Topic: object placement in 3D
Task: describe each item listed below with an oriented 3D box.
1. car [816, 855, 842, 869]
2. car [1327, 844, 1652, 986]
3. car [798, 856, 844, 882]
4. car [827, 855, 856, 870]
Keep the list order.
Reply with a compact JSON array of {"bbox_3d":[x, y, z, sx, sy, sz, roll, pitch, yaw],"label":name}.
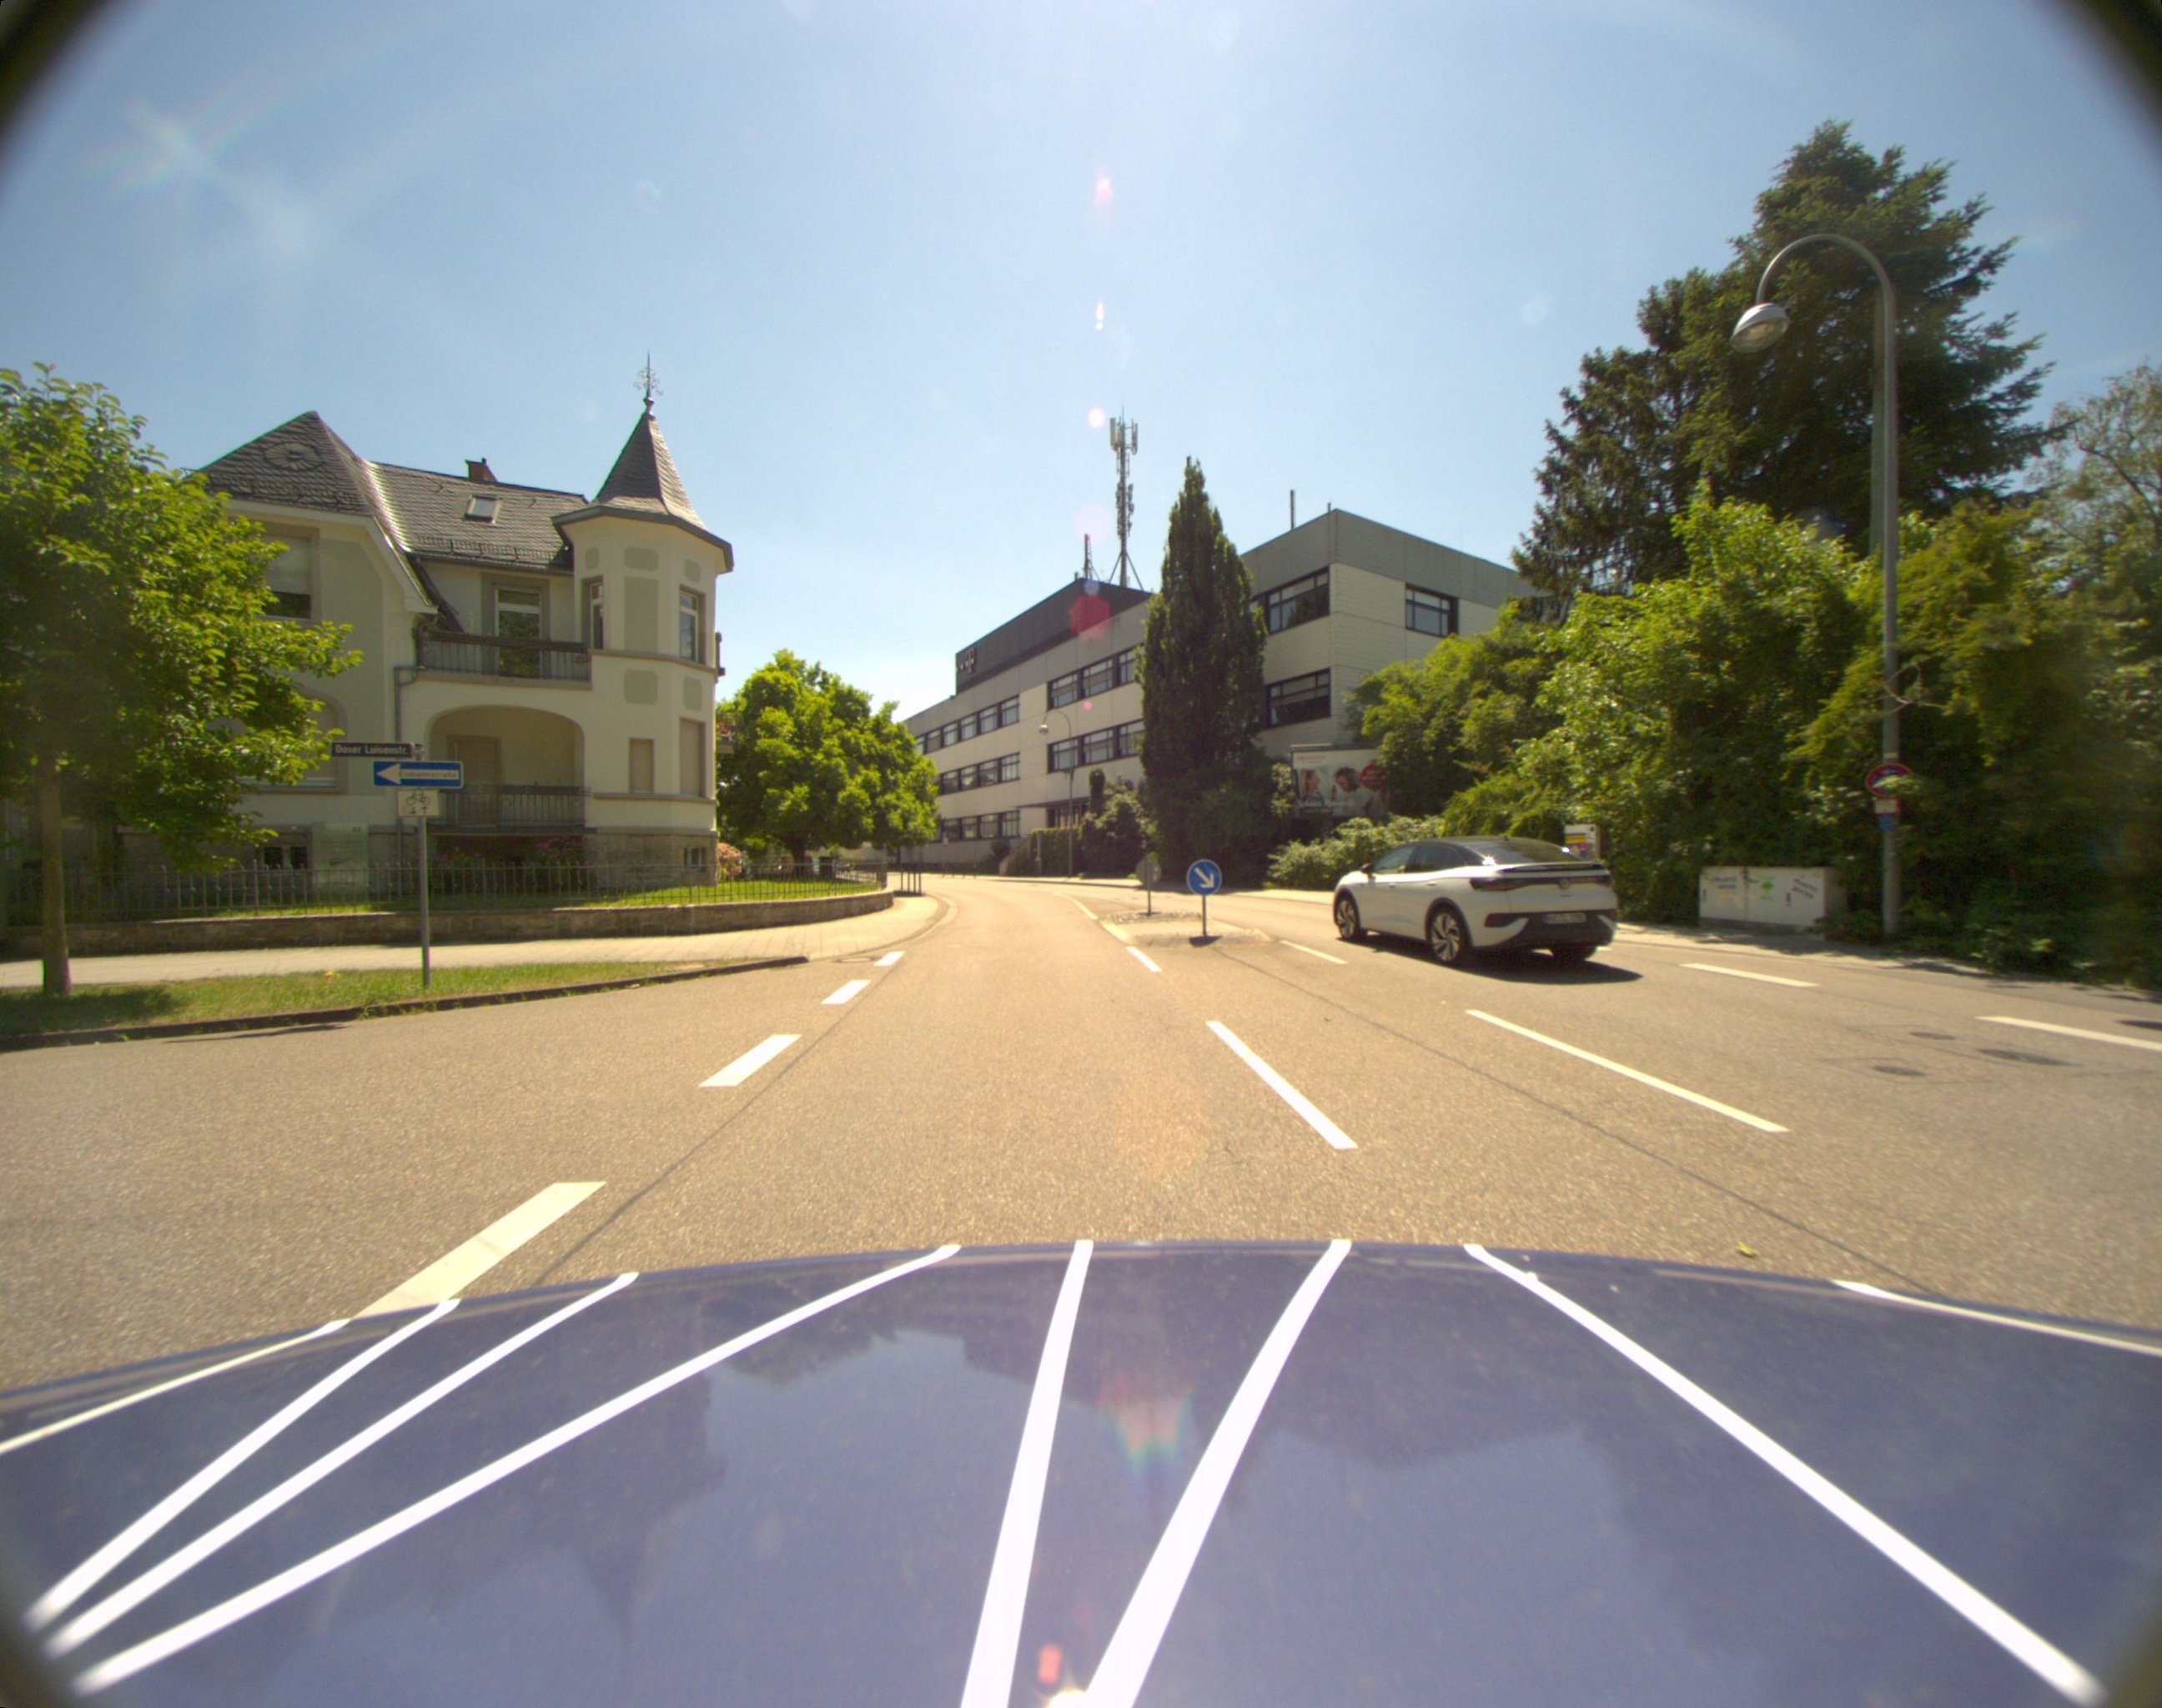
[{"bbox_3d":[-27.423,0.867,82.498,1.749,1.494,3.724,-2,1,-33],"label":"car"},{"bbox_3d":[5.244,0.686,10.563,1.850,1.521,4.336,-1,0,-6],"label":"car"},{"bbox_3d":[-16.497,0.934,48.126,1.778,1.532,3.990,-1,0,-33],"label":"car"},{"bbox_3d":[-24.656,0.847,78.166,1.739,1.441,4.019,-2,1,-33],"label":"car"}]
